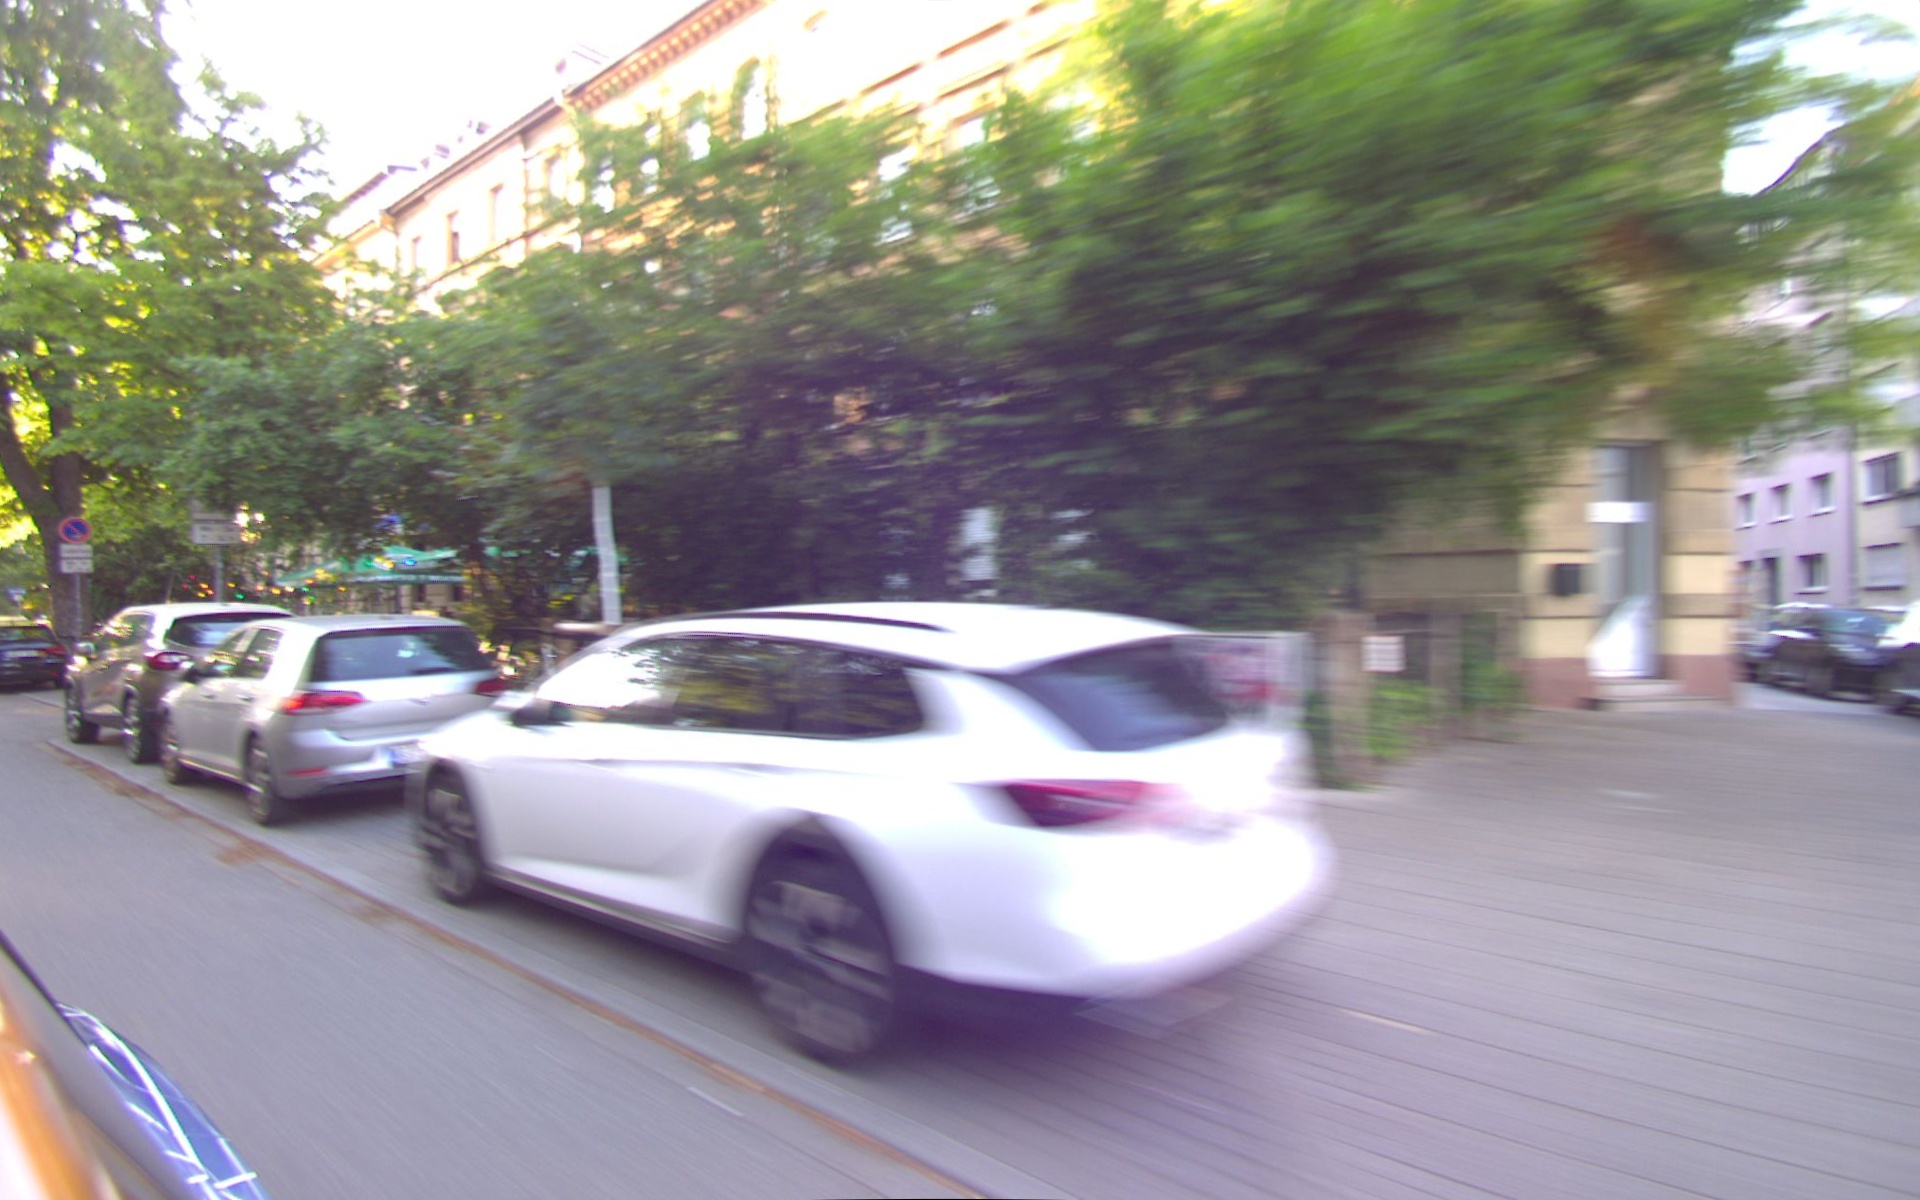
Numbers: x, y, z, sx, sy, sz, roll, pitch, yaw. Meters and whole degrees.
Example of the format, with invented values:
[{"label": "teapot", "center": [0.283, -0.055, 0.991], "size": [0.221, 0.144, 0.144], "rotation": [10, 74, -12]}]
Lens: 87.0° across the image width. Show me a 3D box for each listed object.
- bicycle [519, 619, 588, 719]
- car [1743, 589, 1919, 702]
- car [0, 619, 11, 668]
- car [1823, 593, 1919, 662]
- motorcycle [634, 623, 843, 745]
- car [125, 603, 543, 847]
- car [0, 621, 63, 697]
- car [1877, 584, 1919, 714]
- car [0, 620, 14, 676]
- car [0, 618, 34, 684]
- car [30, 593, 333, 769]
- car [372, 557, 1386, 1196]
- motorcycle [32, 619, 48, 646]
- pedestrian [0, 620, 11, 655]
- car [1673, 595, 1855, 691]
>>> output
[{"label": "bicycle", "center": [-5.822, 0.923, 14.416], "size": [0.597, 1.294, 2.493], "rotation": [0, -1, -29]}, {"label": "car", "center": [13.978, 0.657, 15.855], "size": [1.697, 1.564, 3.846], "rotation": [1, 0, 22]}, {"label": "car", "center": [-30.683, 1.393, 30.714], "size": [4.589, 1.422, 1.824], "rotation": [-2, 1, 35]}, {"label": "car", "center": [22.954, 0.610, 24.477], "size": [1.832, 1.563, 4.079], "rotation": [-1, -1, 21]}, {"label": "motorcycle", "center": [-2.479, 0.850, 10.975], "size": [2.889, 1.165, 0.576], "rotation": [-1, 0, 41]}, {"label": "car", "center": [-5.345, 0.802, 8.385], "size": [4.399, 1.513, 1.672], "rotation": [-1, 0, 40]}, {"label": "car", "center": [-20.173, 1.213, 21.171], "size": [3.690, 1.497, 1.536], "rotation": [-2, -2, 39]}, {"label": "car", "center": [12.070, 0.592, 11.367], "size": [1.702, 1.564, 4.065], "rotation": [1, 0, 29]}, {"label": "car", "center": [-26.565, 1.315, 26.978], "size": [3.884, 1.446, 1.587], "rotation": [-2, 1, 42]}, {"label": "car", "center": [-23.543, 1.238, 24.299], "size": [3.693, 1.496, 1.535], "rotation": [-2, 1, 42]}, {"label": "car", "center": [-8.946, 0.814, 11.487], "size": [4.397, 1.575, 1.673], "rotation": [-2, 1, 39]}, {"label": "car", "center": [-0.802, 0.700, 4.596], "size": [4.734, 1.513, 1.673], "rotation": [-2, 1, 40]}, {"label": "motorcycle", "center": [-41.436, 1.460, 45.593], "size": [0.386, 1.194, 1.960], "rotation": [-2, 1, -40]}, {"label": "pedestrian", "center": [-45.087, 1.761, 47.266], "size": [1.043, 1.643, 0.684], "rotation": [-1, -1, 15]}, {"label": "car", "center": [15.632, 0.775, 19.913], "size": [1.697, 1.659, 3.847], "rotation": [1, 0, 21]}]
